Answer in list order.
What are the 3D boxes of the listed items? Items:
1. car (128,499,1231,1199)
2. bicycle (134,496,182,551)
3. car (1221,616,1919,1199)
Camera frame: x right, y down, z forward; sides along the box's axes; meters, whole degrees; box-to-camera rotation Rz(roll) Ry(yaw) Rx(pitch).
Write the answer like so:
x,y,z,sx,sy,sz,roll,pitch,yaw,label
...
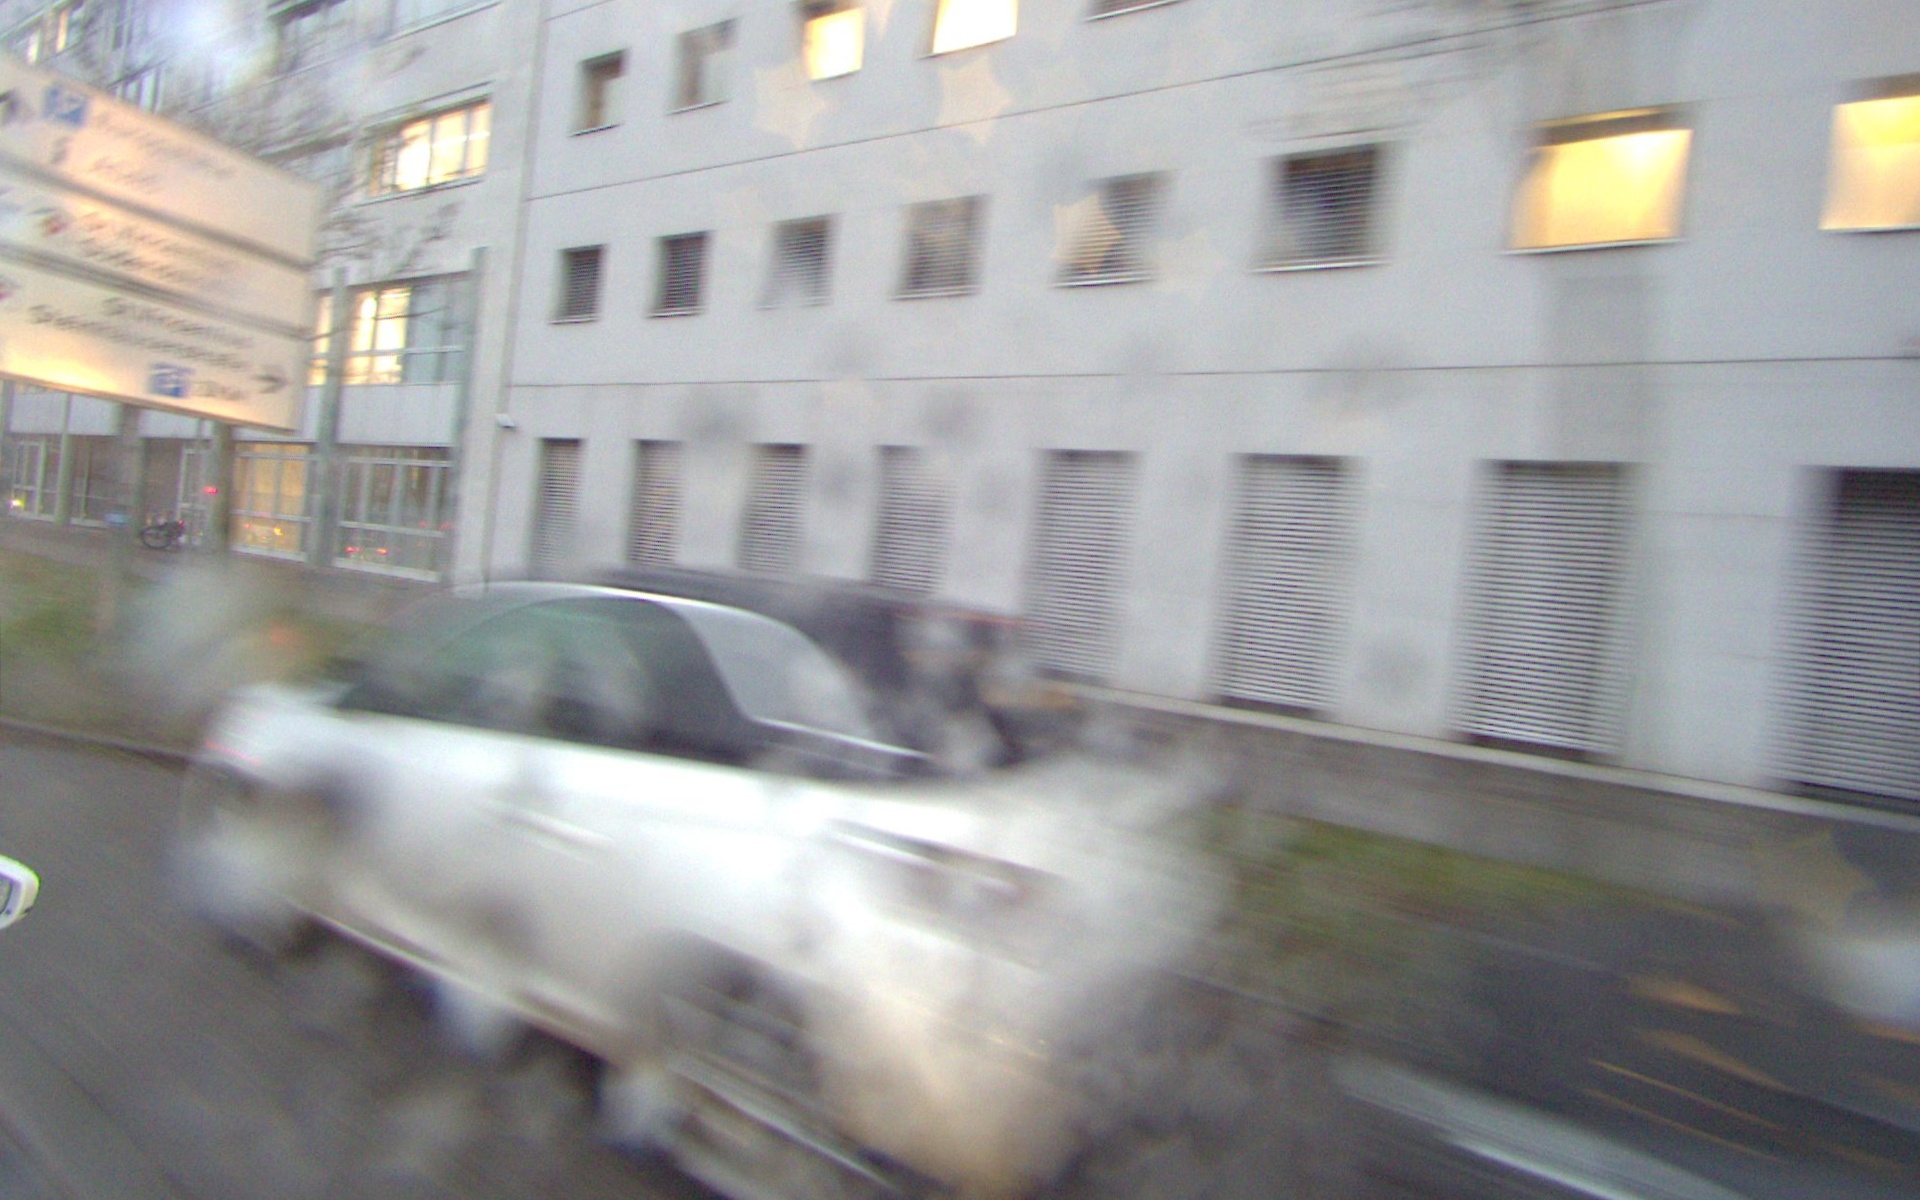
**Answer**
x,y,z,sx,sy,sz,roll,pitch,yaw,label
-1.074,0.556,3.413,3.428,1.412,1.592,7,2,31,car
-20.931,-2.017,26.229,0.818,1.291,2.428,2,4,-42,bicycle
2.656,1.025,1.212,4.182,1.419,1.756,7,-1,34,car
